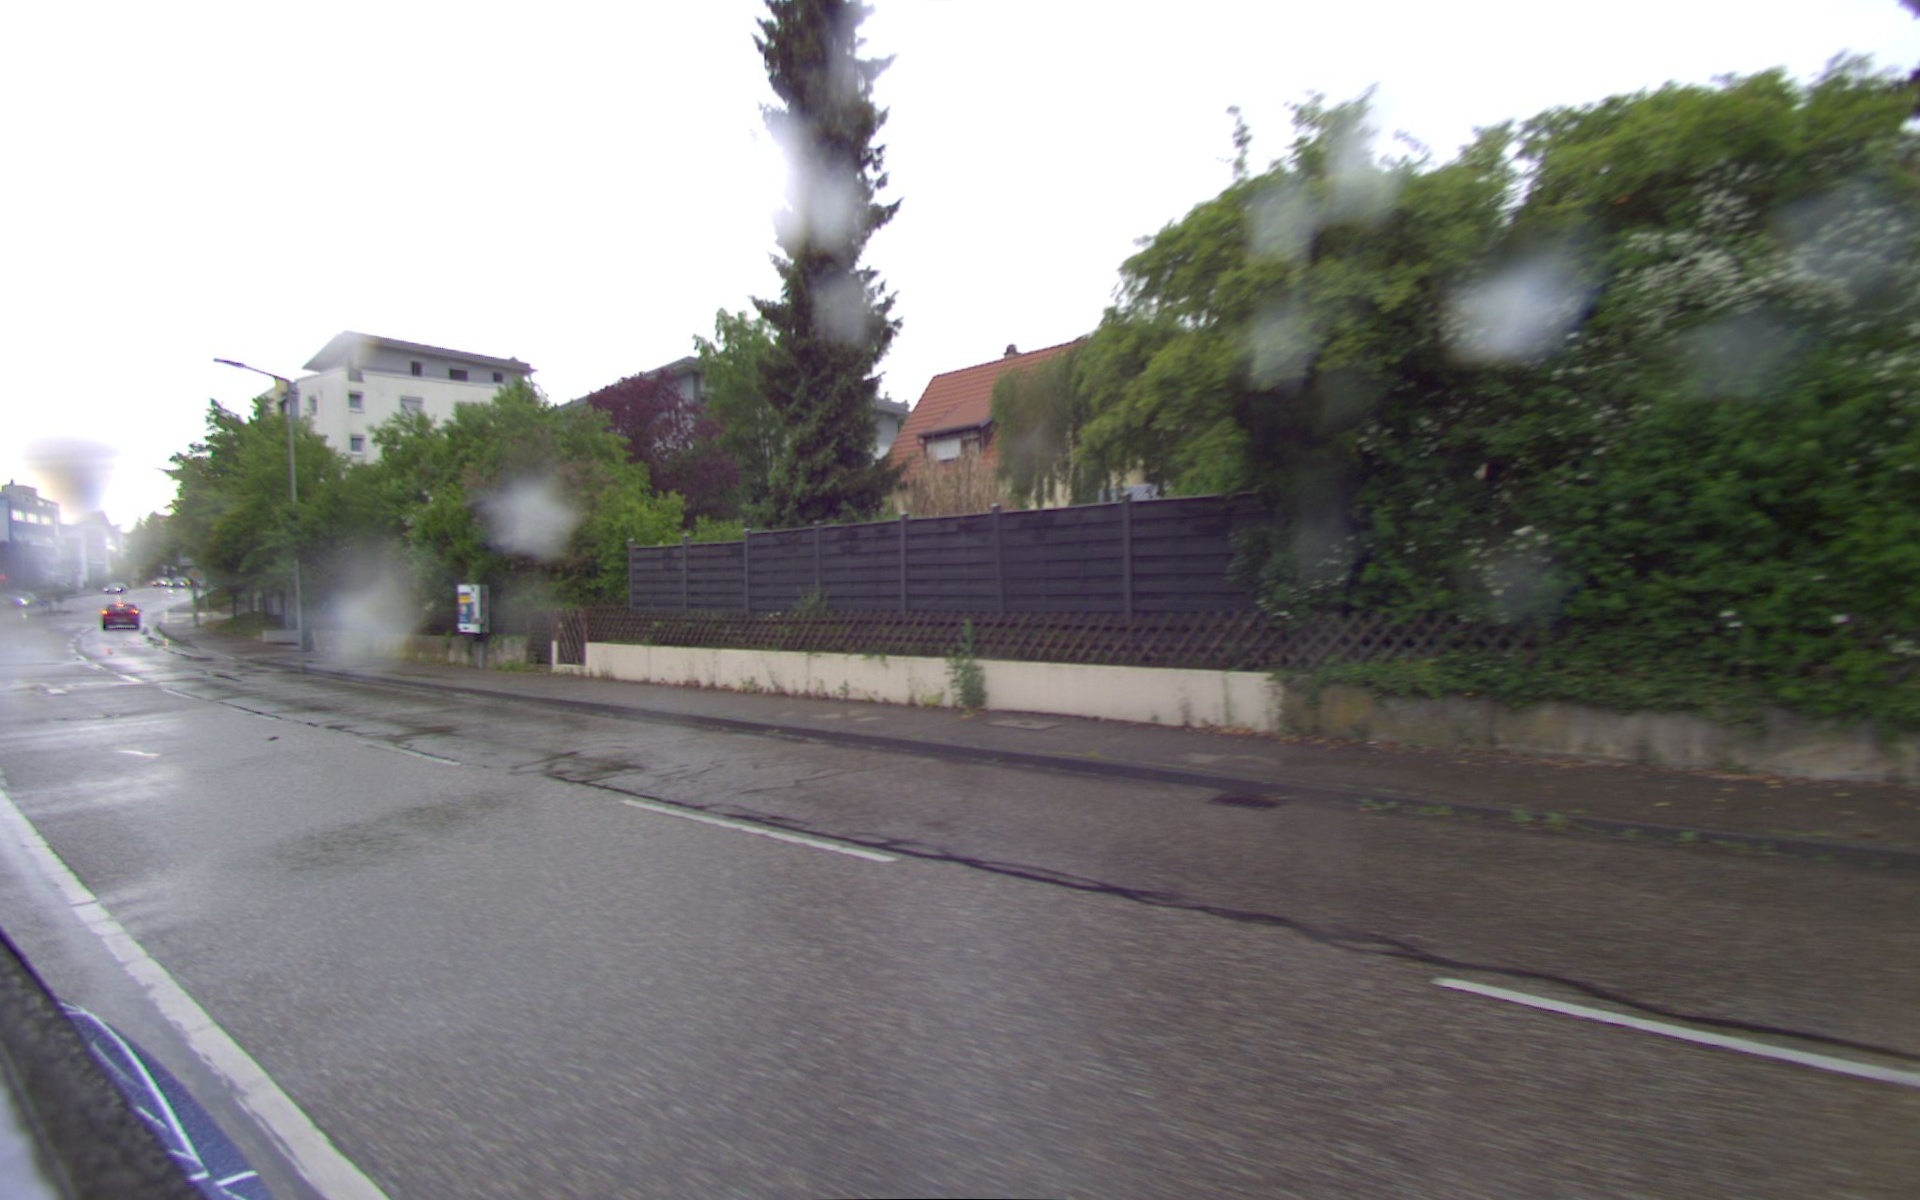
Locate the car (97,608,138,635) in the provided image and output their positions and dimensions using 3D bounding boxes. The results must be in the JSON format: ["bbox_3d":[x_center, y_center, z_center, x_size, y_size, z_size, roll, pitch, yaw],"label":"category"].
[{"bbox_3d":[-49.611,1.256,59.629,1.752,1.518,4.112,1,0,-39],"label":"car"}]

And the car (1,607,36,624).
[{"bbox_3d":[-93.206,1.521,100.217,1.868,1.556,4.032,-3,2,-33],"label":"car"}]

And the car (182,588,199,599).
[{"bbox_3d":[-116.525,-1.031,153.295,1.666,1.566,3.919,-4,3,-32],"label":"car"}]

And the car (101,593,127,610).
[{"bbox_3d":[-116.225,0.242,139.073,1.967,2.028,4.013,-6,4,-30],"label":"car"}]

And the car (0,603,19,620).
[{"bbox_3d":[-88.887,1.065,93.926,1.726,1.489,4.010,-3,2,-35],"label":"car"}]

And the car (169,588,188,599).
[{"bbox_3d":[-122.559,-1.000,158.815,1.799,1.699,4.012,-1,1,-30],"label":"car"}]
